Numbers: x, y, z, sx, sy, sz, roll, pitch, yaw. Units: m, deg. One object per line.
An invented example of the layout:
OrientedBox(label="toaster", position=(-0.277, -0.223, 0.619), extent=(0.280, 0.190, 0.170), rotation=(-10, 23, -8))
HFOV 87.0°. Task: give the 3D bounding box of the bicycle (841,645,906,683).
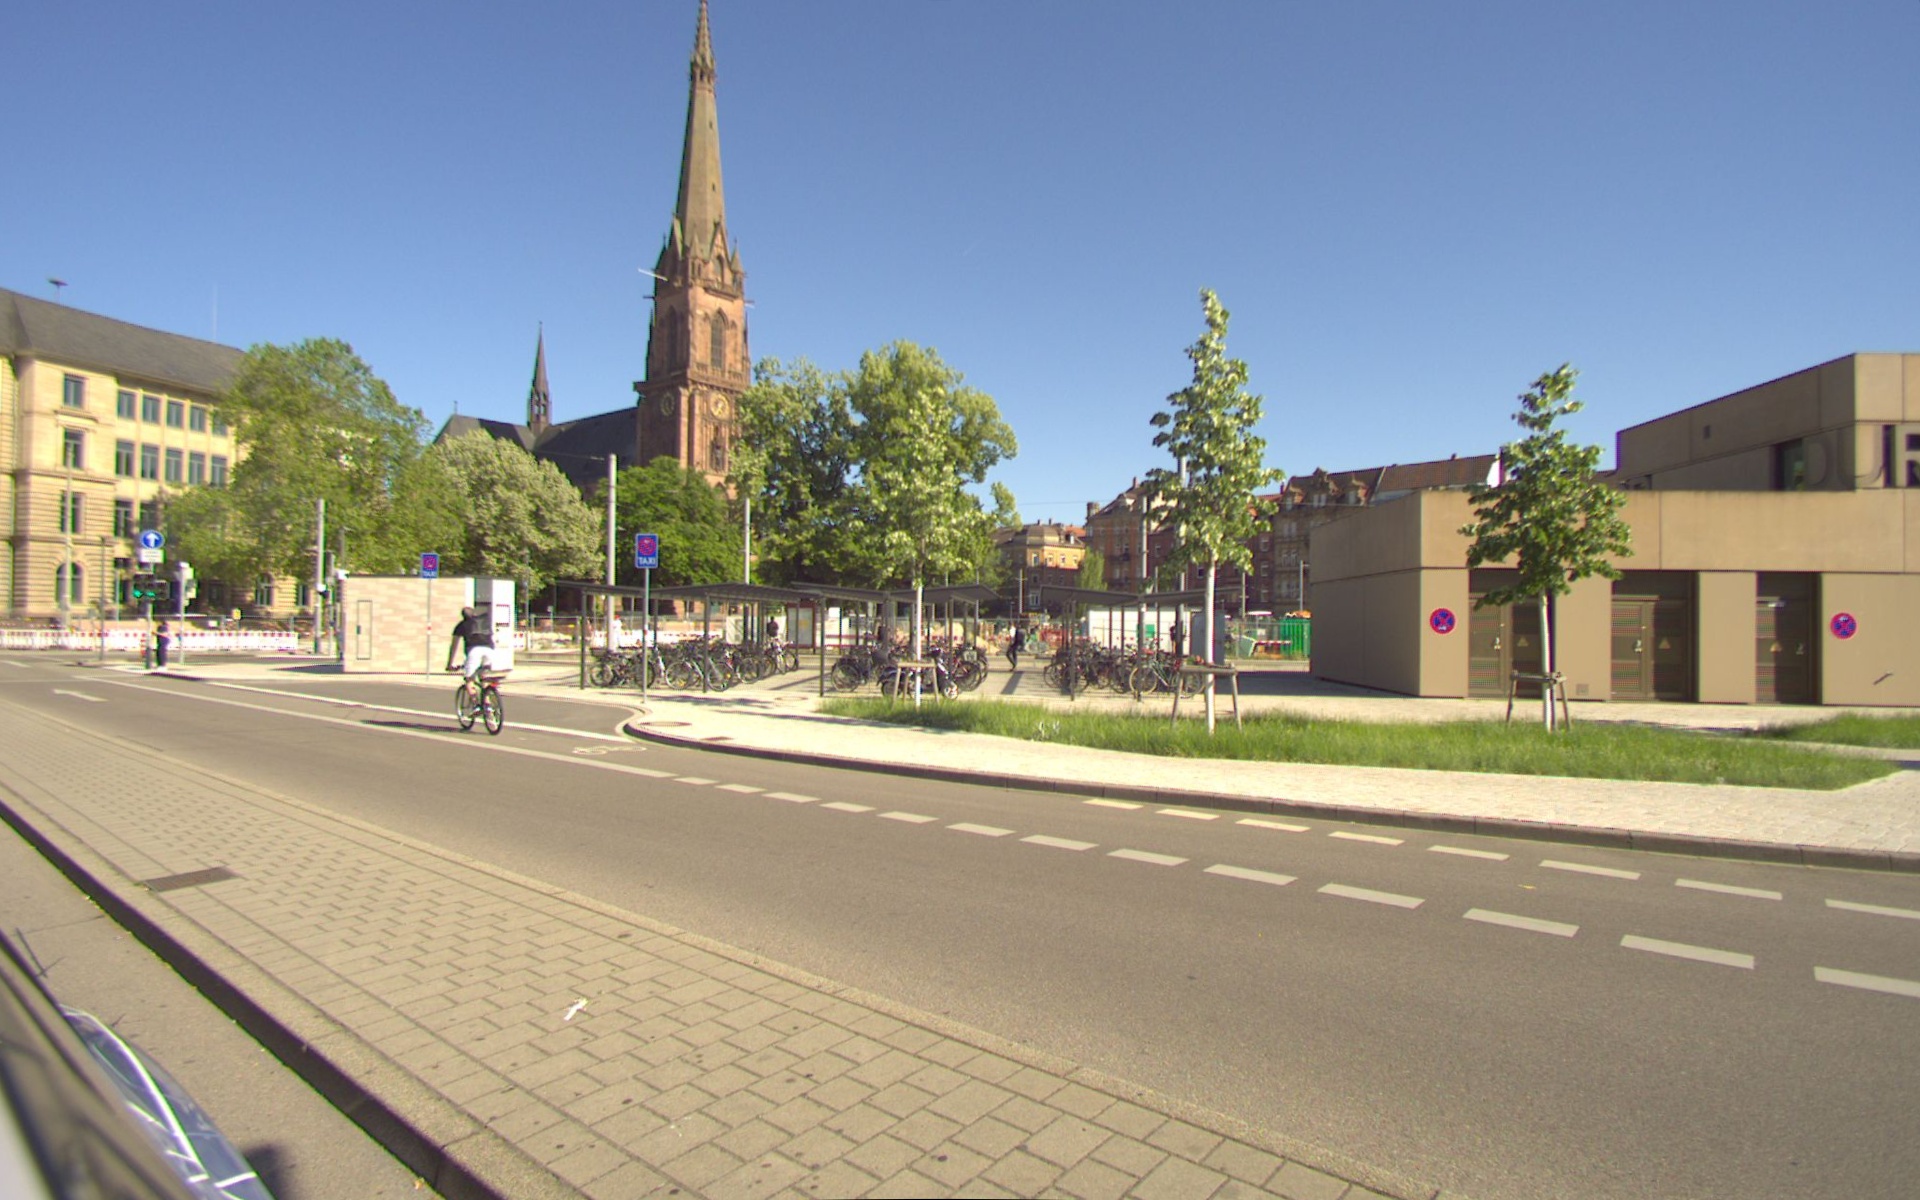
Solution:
OrientedBox(label="bicycle", position=(-2.461, 1.822, 28.902), extent=(1.764, 1.046, 0.567), rotation=(1, -3, 3))

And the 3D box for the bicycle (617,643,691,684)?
OrientedBox(label="bicycle", position=(-8.169, 1.689, 27.052), extent=(1.764, 1.046, 0.567), rotation=(1, -3, 3))

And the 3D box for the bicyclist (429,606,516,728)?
OrientedBox(label="bicyclist", position=(-6.854, 0.920, 14.224), extent=(0.977, 1.633, 0.712), rotation=(-1, -3, 40))

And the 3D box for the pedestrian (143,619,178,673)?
OrientedBox(label="pedestrian", position=(-26.040, 1.478, 32.961), extent=(0.648, 1.693, 0.779), rotation=(-1, 0, 41))

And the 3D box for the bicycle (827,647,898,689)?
OrientedBox(label="bicycle", position=(-2.532, 1.764, 26.419), extent=(1.764, 1.046, 0.567), rotation=(1, -3, 3))

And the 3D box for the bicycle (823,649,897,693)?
OrientedBox(label="bicycle", position=(-2.477, 1.750, 25.130), extent=(1.764, 1.046, 0.567), rotation=(1, -3, 3))

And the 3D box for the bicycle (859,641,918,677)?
OrientedBox(label="bicycle", position=(-2.203, 1.812, 31.269), extent=(1.764, 1.046, 0.567), rotation=(1, -3, 3))

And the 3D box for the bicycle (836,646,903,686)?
OrientedBox(label="bicycle", position=(-2.464, 1.796, 27.708), extent=(1.764, 1.046, 0.567), rotation=(1, -3, 3))

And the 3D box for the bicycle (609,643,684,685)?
OrientedBox(label="bicycle", position=(-8.176, 1.670, 26.420), extent=(1.764, 1.046, 0.567), rotation=(1, -3, 3))

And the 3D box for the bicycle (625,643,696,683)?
OrientedBox(label="bicycle", position=(-8.174, 1.718, 27.668), extent=(1.764, 1.046, 0.567), rotation=(1, -3, 3))

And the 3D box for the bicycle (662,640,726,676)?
OrientedBox(label="bicycle", position=(-8.082, 1.760, 30.743), extent=(1.764, 1.046, 0.567), rotation=(1, -3, 3))

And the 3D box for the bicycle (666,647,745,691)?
OrientedBox(label="bicycle", position=(-6.238, 1.686, 24.851), extent=(1.764, 1.046, 0.567), rotation=(1, -3, 3))

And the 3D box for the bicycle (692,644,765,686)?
OrientedBox(label="bicycle", position=(-6.092, 1.714, 26.705), extent=(1.764, 1.046, 0.567), rotation=(1, -3, 3))

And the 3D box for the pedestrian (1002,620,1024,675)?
OrientedBox(label="pedestrian", position=(1.720, 1.524, 32.702), extent=(0.672, 1.736, 0.617), rotation=(0, -1, 1))

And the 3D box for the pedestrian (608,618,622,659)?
OrientedBox(label="pedestrian", position=(-14.994, 1.689, 43.960), extent=(0.529, 1.736, 0.684), rotation=(0, -6, -20))

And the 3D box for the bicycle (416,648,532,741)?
OrientedBox(label="bicycle", position=(-6.829, 1.284, 14.183), extent=(1.869, 1.174, 0.738), rotation=(-1, -3, 40))

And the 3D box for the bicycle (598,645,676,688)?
OrientedBox(label="bicycle", position=(-8.201, 1.691, 25.730), extent=(1.764, 1.046, 0.567), rotation=(1, -3, 3))

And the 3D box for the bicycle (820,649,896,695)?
OrientedBox(label="bicycle", position=(-2.465, 1.735, 24.546), extent=(1.764, 1.046, 0.567), rotation=(1, -3, 3))

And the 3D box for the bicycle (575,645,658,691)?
OrientedBox(label="bicycle", position=(-8.246, 1.632, 24.324), extent=(1.764, 1.046, 0.567), rotation=(1, -3, 3))

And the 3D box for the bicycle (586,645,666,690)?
OrientedBox(label="bicycle", position=(-8.222, 1.661, 24.975), extent=(1.764, 1.046, 0.567), rotation=(1, -3, 3))

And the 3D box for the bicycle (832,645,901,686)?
OrientedBox(label="bicycle", position=(-2.492, 1.758, 27.094), extent=(1.764, 1.046, 0.567), rotation=(1, -3, 3))

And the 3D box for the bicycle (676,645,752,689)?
OrientedBox(label="bicycle", position=(-6.182, 1.687, 25.494), extent=(1.764, 1.046, 0.567), rotation=(1, -3, 3))

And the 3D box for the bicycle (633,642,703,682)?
OrientedBox(label="bicycle", position=(-8.158, 1.728, 28.285), extent=(1.764, 1.046, 0.567), rotation=(1, -3, 3))

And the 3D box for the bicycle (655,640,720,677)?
OrientedBox(label="bicycle", position=(-8.117, 1.741, 30.151), extent=(1.764, 1.046, 0.567), rotation=(1, -3, 3))

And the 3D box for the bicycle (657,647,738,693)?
OrientedBox(label="bicycle", position=(-6.256, 1.673, 24.201), extent=(1.764, 1.046, 0.567), rotation=(1, -3, 3))

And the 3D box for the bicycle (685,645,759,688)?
OrientedBox(label="bicycle", position=(-6.130, 1.709, 26.104), extent=(1.764, 1.046, 0.567), rotation=(1, -3, 3))

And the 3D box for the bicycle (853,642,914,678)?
OrientedBox(label="bicycle", position=(-2.287, 1.805, 30.502), extent=(1.764, 1.046, 0.567), rotation=(1, -3, 3))

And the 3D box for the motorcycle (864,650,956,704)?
OrientedBox(label="motorcycle", position=(-1.091, 1.678, 22.263), extent=(1.961, 1.127, 0.594), rotation=(0, -1, 7))

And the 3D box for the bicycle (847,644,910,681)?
OrientedBox(label="bicycle", position=(-2.383, 1.830, 29.774), extent=(1.764, 1.046, 0.567), rotation=(1, -3, 3))

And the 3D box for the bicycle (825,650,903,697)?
OrientedBox(label="bicycle", position=(-2.270, 1.736, 23.951), extent=(1.764, 1.046, 0.567), rotation=(1, -3, 3))

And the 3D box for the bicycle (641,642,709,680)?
OrientedBox(label="bicycle", position=(-8.149, 1.739, 28.951), extent=(1.764, 1.046, 0.567), rotation=(1, -3, 3))

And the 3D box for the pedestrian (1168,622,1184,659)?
OrientedBox(label="pedestrian", position=(9.077, 1.706, 42.576), extent=(0.581, 1.530, 0.560), rotation=(1, -2, 5))

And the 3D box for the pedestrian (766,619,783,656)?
OrientedBox(label="pedestrian", position=(-8.443, 1.703, 46.065), extent=(0.518, 1.667, 0.560), rotation=(-1, 0, 40))
